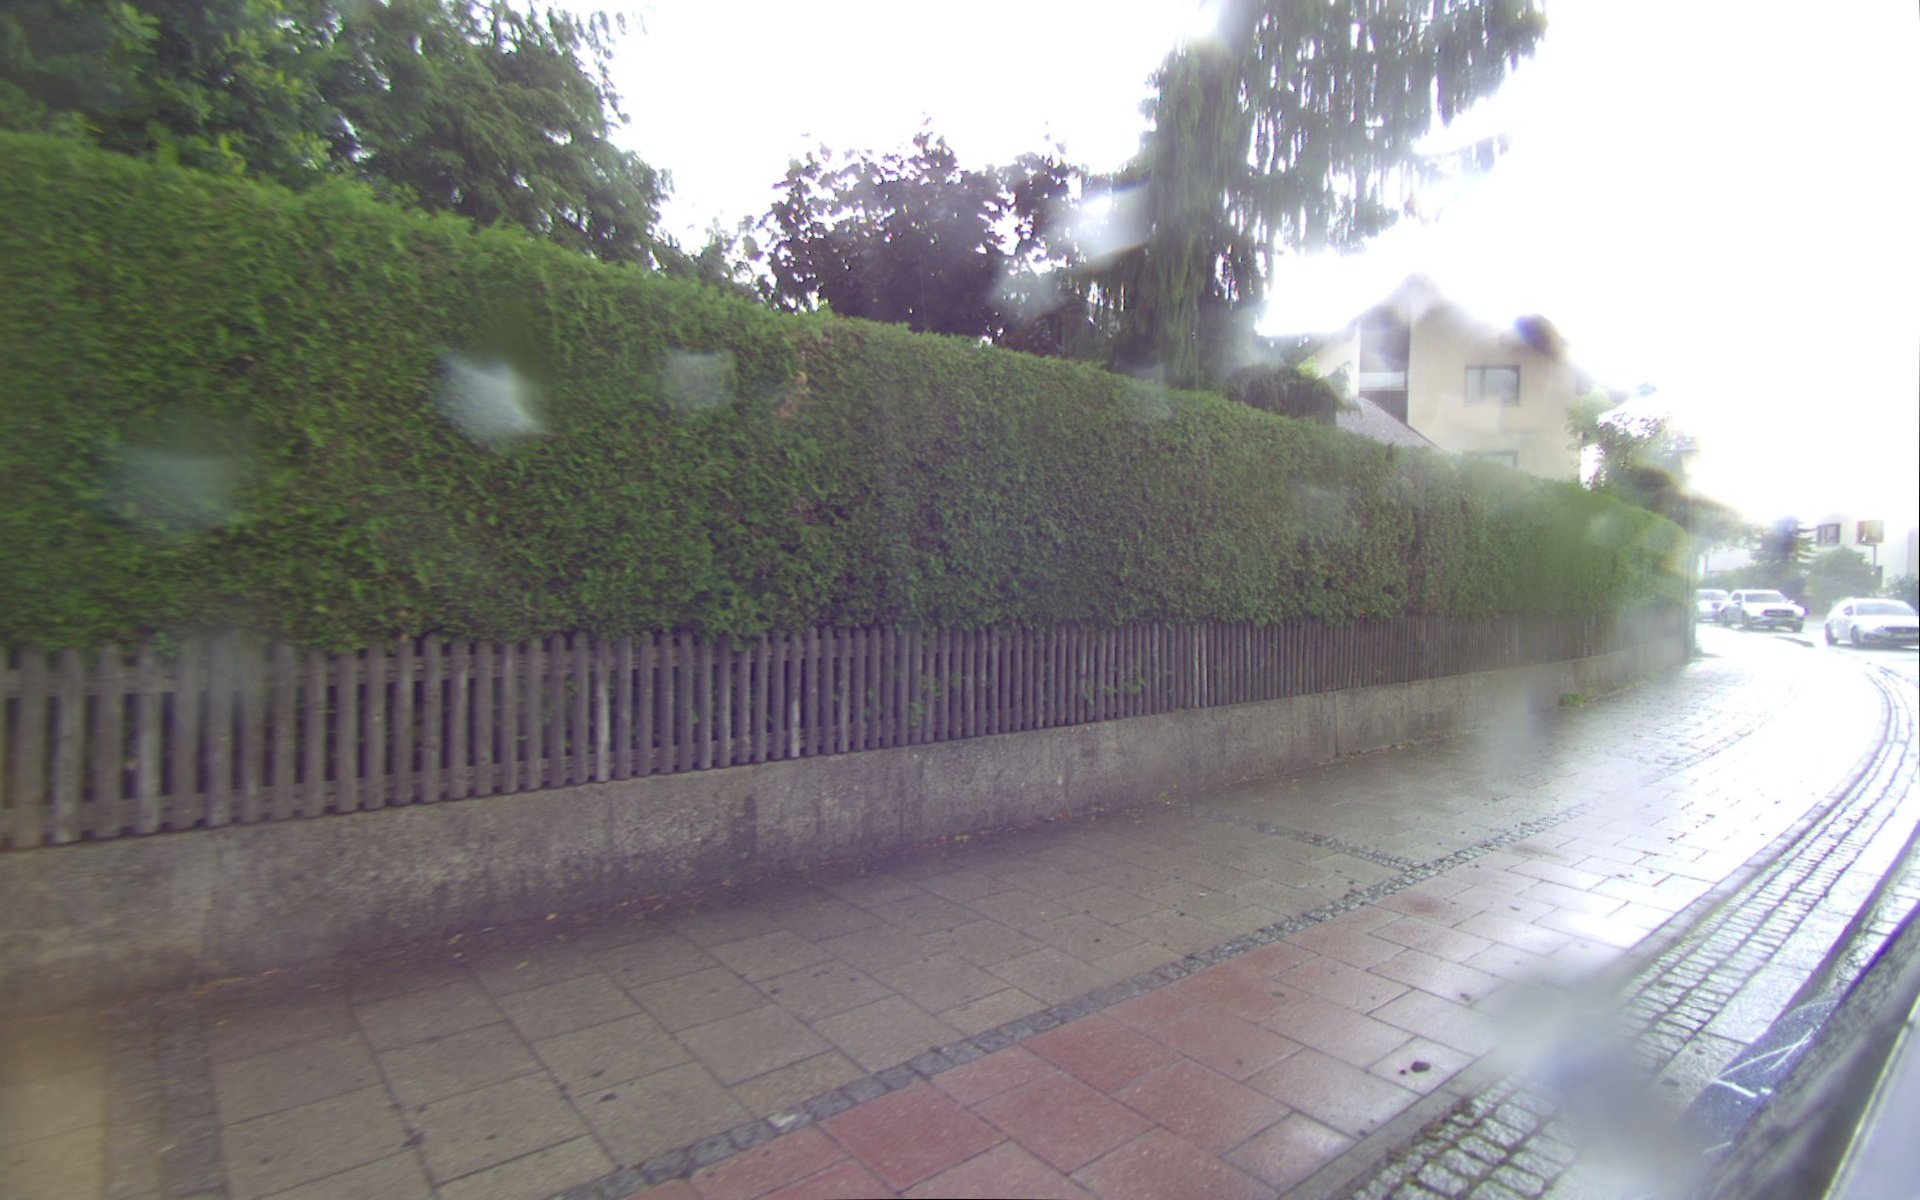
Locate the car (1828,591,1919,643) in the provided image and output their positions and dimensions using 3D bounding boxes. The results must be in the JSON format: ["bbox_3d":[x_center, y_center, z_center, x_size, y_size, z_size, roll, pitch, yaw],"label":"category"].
[{"bbox_3d":[27.691,0.456,30.157,1.777,1.412,4.241,-1,0,27],"label":"car"}]

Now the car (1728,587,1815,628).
[{"bbox_3d":[33.549,0.278,41.981,1.776,1.568,4.246,-1,0,24],"label":"car"}]

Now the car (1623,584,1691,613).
[{"bbox_3d":[38.847,-0.114,56.518,1.770,1.568,4.260,-1,0,16],"label":"car"}]

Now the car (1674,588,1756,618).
[{"bbox_3d":[36.936,0.129,49.630,1.770,1.391,4.260,-1,0,16],"label":"car"}]
